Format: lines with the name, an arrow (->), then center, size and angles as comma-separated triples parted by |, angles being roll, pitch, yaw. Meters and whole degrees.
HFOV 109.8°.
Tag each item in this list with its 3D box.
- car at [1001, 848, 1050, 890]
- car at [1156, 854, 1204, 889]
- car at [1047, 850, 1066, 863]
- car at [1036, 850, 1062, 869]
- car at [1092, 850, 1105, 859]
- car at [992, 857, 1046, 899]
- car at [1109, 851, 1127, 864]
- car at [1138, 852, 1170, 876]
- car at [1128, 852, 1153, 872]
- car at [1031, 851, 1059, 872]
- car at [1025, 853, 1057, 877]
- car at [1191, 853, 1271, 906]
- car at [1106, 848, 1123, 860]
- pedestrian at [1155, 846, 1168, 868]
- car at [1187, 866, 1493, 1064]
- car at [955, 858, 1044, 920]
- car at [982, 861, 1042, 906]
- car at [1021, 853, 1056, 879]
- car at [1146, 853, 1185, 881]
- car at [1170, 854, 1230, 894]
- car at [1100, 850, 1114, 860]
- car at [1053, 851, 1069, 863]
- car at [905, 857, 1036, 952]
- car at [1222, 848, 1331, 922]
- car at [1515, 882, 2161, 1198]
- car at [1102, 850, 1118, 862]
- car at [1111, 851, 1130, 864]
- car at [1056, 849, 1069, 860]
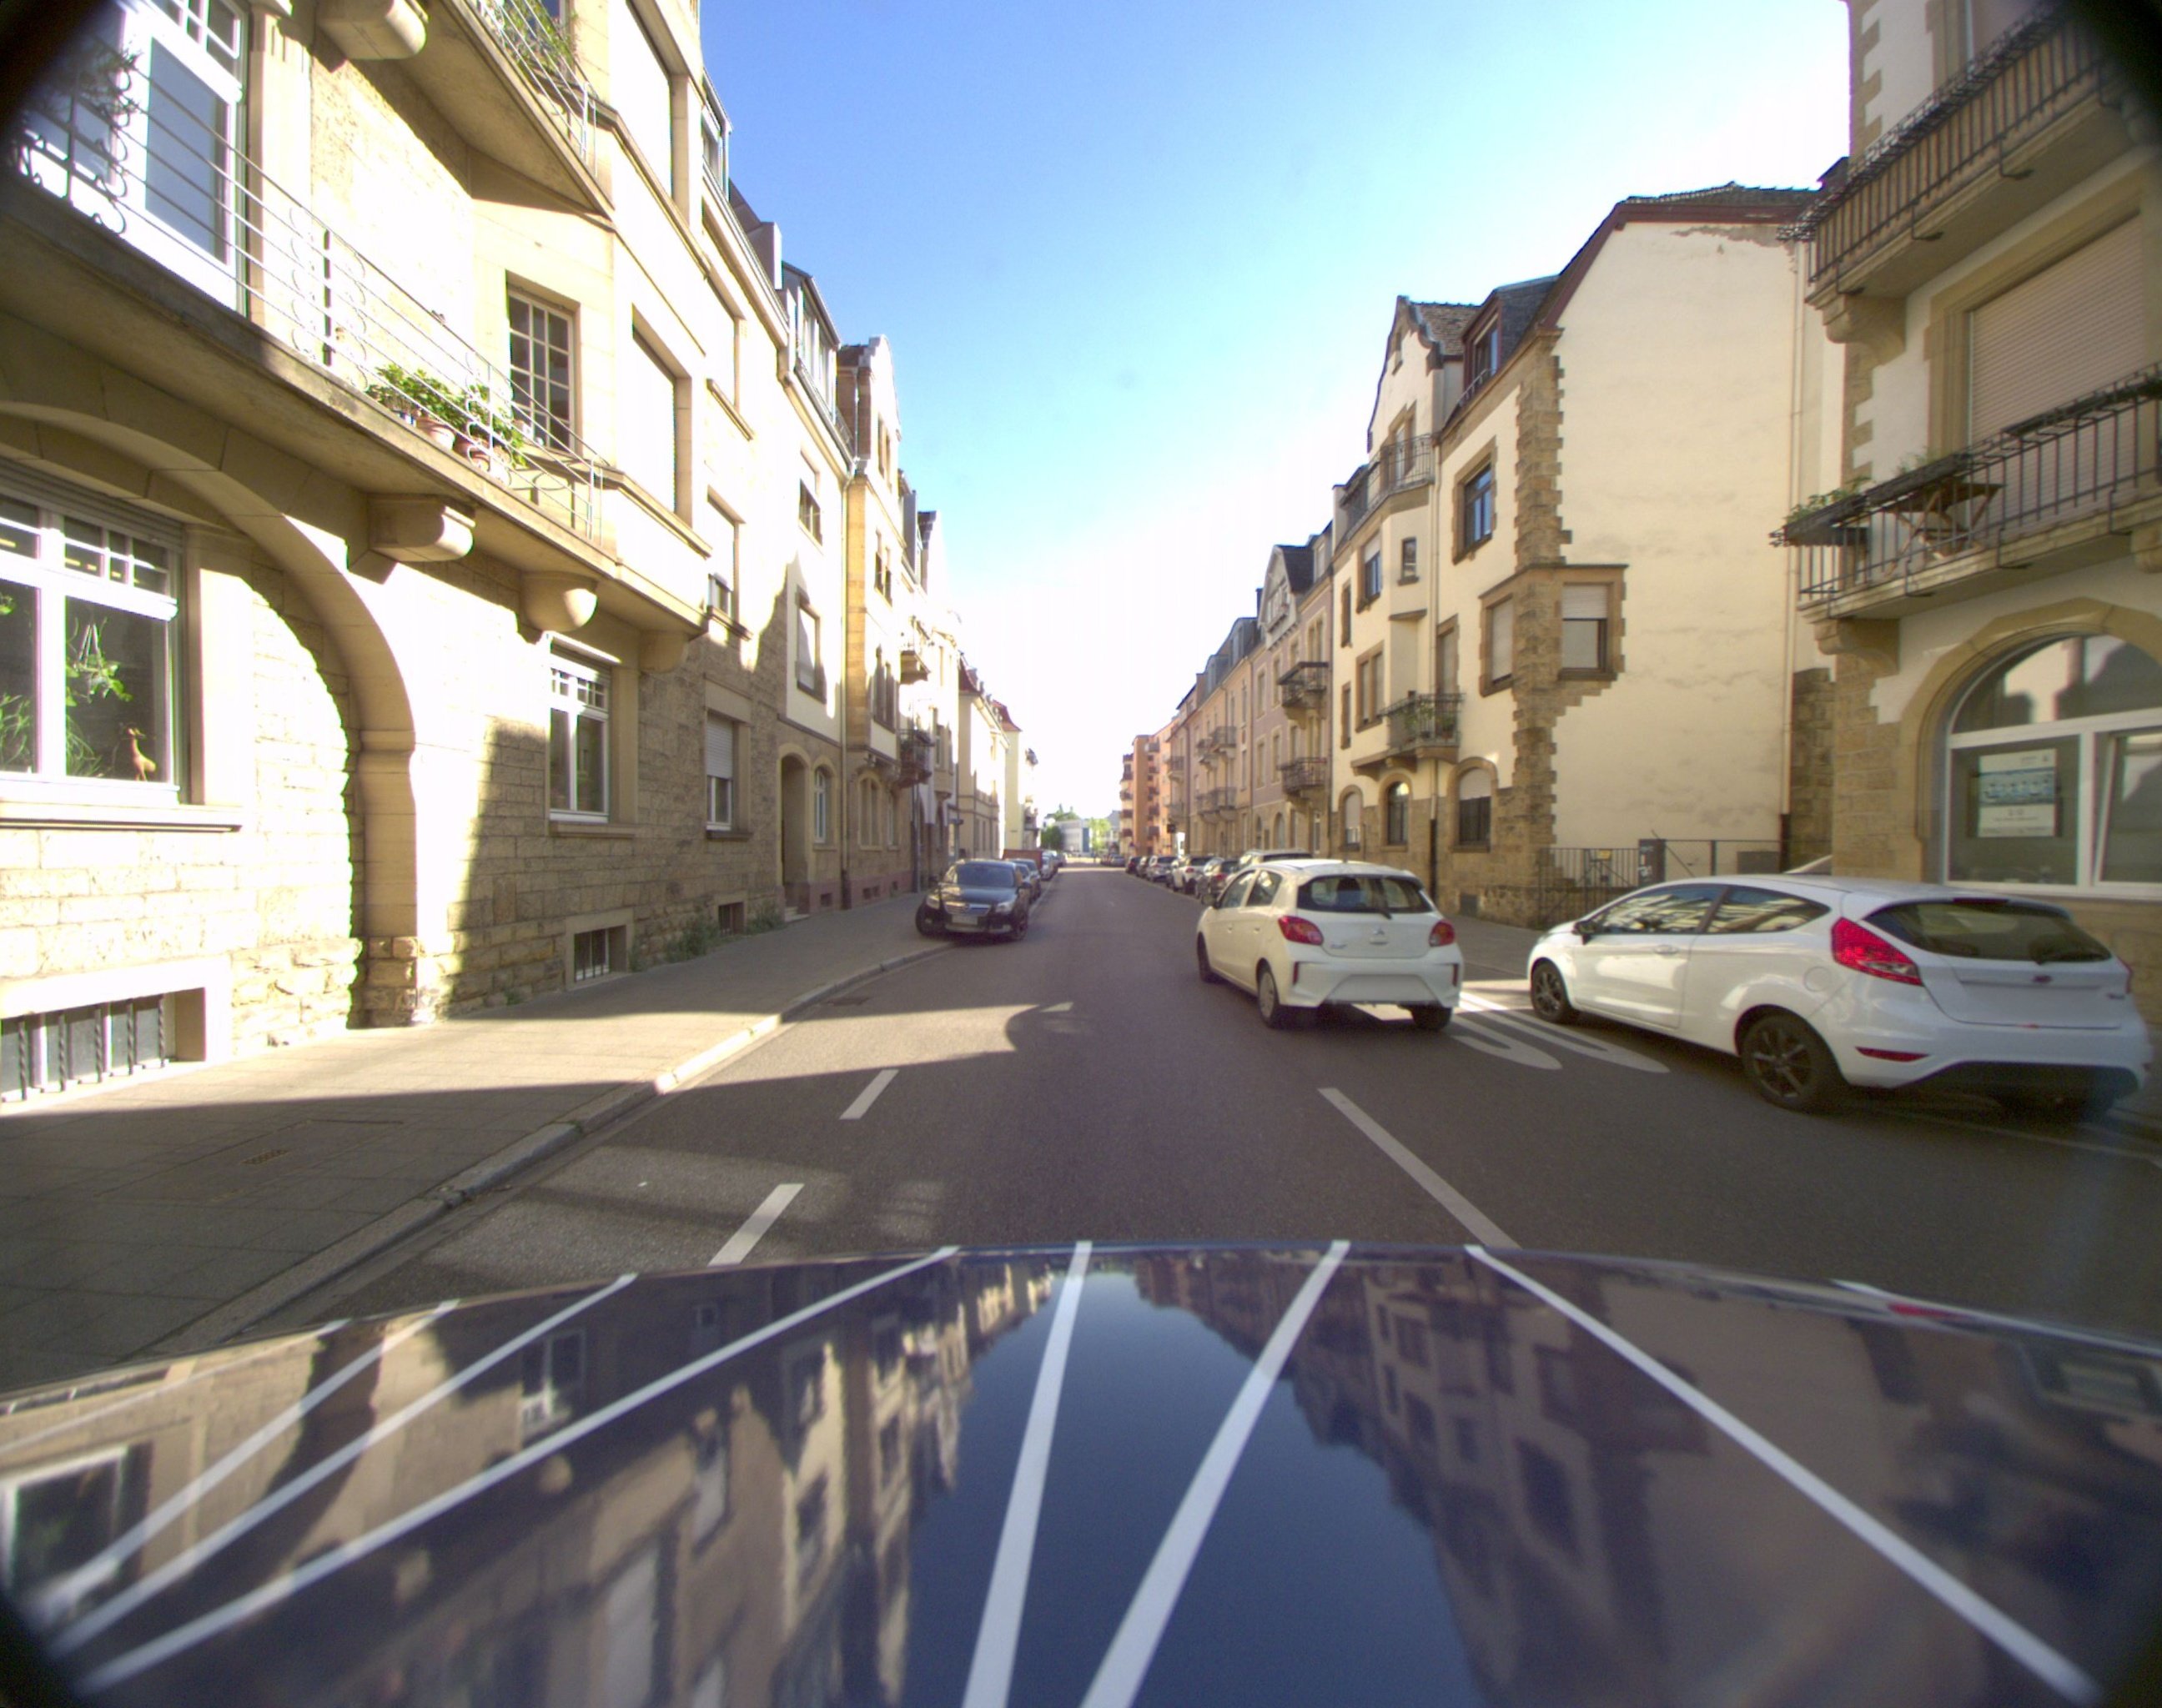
car -> -2.558, 0.651, 35.803 | 2.005, 1.828, 4.320 | 1, 1, -1
car -> 4.857, 0.819, 37.799 | 1.857, 1.491, 4.318 | -2, 1, 1
car -> -2.840, 0.266, 88.972 | 2.005, 1.500, 4.320 | 1, 1, -1
car -> -2.669, 0.452, 64.492 | 2.005, 1.500, 4.320 | 1, 1, -1
car -> 3.002, 0.038, 132.562 | 2.005, 1.500, 4.320 | 1, 1, -1
car -> -2.384, 0.892, 30.113 | 1.824, 1.415, 4.320 | 1, 1, -1
car -> 4.628, 0.392, 96.198 | 2.005, 1.500, 4.320 | 1, 1, -1
car -> 4.994, 0.670, 52.343 | 1.809, 1.500, 4.003 | -2, 1, 1
car -> 4.896, 0.642, 62.966 | 1.793, 1.500, 4.320 | -2, 1, 1
car -> -2.743, 0.535, 58.751 | 2.005, 1.500, 4.320 | 1, 1, -1
car -> -2.746, 0.737, 52.634 | 2.005, 1.500, 4.320 | 1, 1, -1
car -> 5.124, 0.823, 26.537 | 1.890, 1.500, 4.320 | -4, 1, 1
car -> 4.522, 0.002, 102.032 | 2.005, 1.500, 4.320 | 1, 1, -1
pedestrian -> 7.361, 0.283, 69.398 | 0.951, 2.002, 1.068 | -2, 1, 21
car -> 2.294, 0.907, 7.735 | 1.703, 1.474, 3.533 | 1, 0, -4
car -> -2.096, 0.875, 20.792 | 2.005, 1.499, 4.321 | 1, 0, -1
car -> -2.233, 0.928, 25.371 | 1.661, 1.272, 3.729 | 1, 1, -1
car -> -2.651, 0.718, 47.860 | 2.005, 1.500, 4.320 | 1, 1, -1
car -> 5.023, 0.735, 45.825 | 1.890, 1.500, 4.320 | -2, 1, 1
car -> 4.986, 0.797, 32.358 | 1.890, 1.500, 4.320 | -2, 1, 1
car -> 3.965, 0.186, 116.752 | 2.005, 1.500, 4.320 | 1, 1, -1
car -> -2.578, 0.430, 99.946 | 2.005, 1.500, 4.320 | 1, 1, -1
car -> -2.037, 0.883, 15.218 | 2.024, 1.500, 4.111 | 2, 1, -1
car -> 5.197, 0.753, 20.769 | 1.890, 1.717, 4.211 | -2, 1, 1
car -> 5.098, 1.017, 5.692 | 1.656, 1.449, 3.643 | 2, 0, 2
car -> 4.118, 0.287, 107.244 | 2.005, 1.500, 4.320 | 1, 1, -1
car -> 4.678, 0.408, 91.384 | 2.005, 1.500, 4.320 | 1, 1, -1
car -> -2.934, 0.067, 123.329 | 2.005, 1.722, 4.320 | 1, 1, -1
